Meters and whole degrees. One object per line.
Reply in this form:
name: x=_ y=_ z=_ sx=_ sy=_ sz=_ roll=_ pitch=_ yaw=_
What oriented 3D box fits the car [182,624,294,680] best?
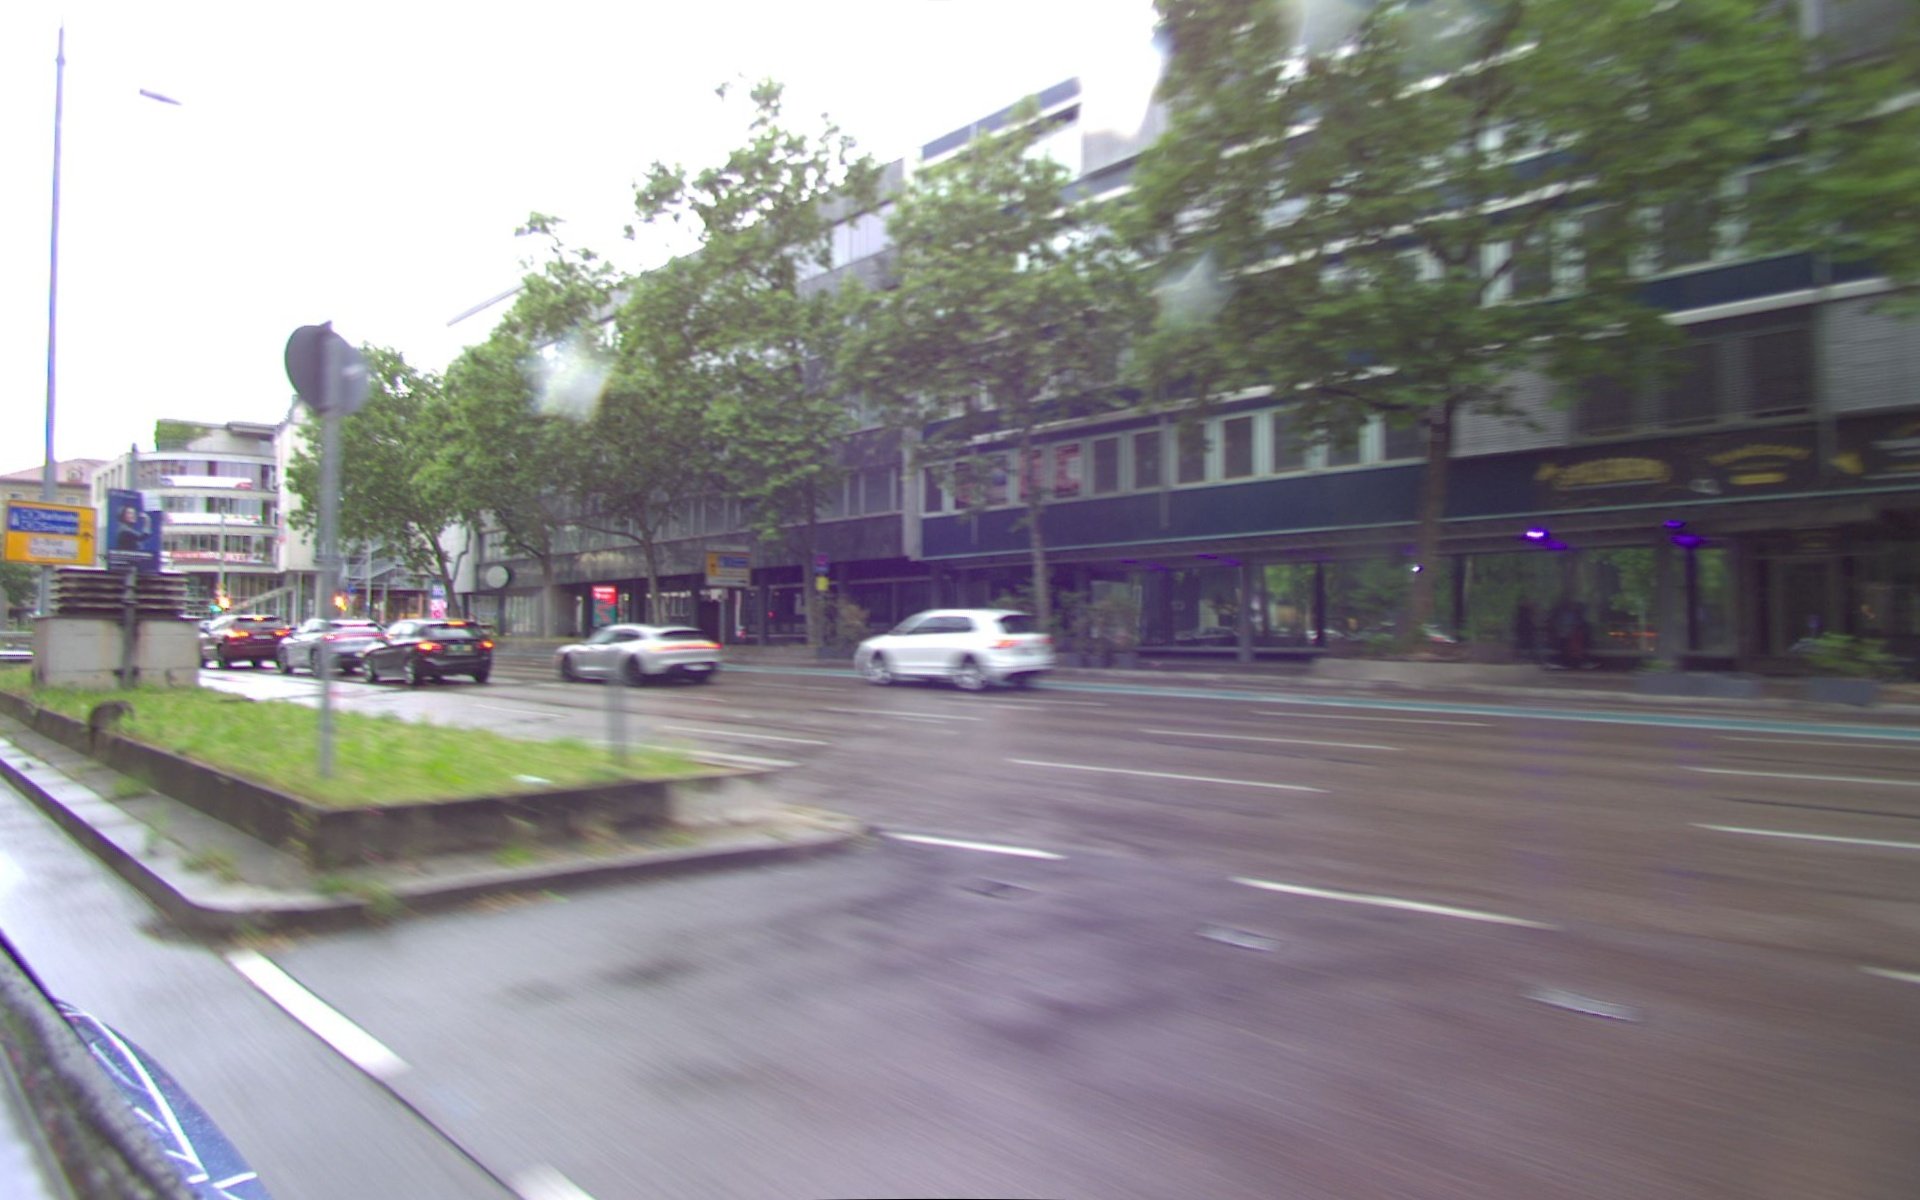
car: x=-24.543 y=1.739 z=34.341 sx=5.103 sy=1.780 sz=1.817 roll=-2 pitch=-2 yaw=39

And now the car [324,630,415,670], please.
car: x=-25.211 y=2.154 z=43.124 sx=4.582 sy=1.458 sz=1.872 roll=-6 pitch=-5 yaw=39

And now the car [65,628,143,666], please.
car: x=-40.526 y=2.228 z=47.883 sx=4.791 sy=1.698 sz=1.859 roll=-2 pitch=-2 yaw=38

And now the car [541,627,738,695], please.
car: x=-7.567 y=1.372 z=23.656 sx=4.950 sy=1.420 sz=1.948 roll=-2 pitch=-2 yaw=38

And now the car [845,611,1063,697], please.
car: x=-0.205 y=1.110 z=21.464 sx=4.542 sy=1.627 sz=1.743 roll=-2 pitch=-2 yaw=39

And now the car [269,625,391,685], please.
car: x=-18.299 y=1.564 z=29.299 sx=4.829 sy=1.585 sz=1.716 roll=-2 pitch=-2 yaw=42

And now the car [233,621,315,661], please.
car: x=-28.793 y=1.681 z=42.463 sx=3.995 sy=1.577 sz=1.736 roll=-1 pitch=-1 yaw=38

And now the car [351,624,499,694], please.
car: x=-13.149 y=1.395 z=24.761 sx=4.543 sy=1.564 sz=1.892 roll=-2 pitch=-2 yaw=44

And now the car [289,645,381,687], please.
car: x=-23.715 y=2.455 z=38.357 sx=4.567 sy=1.502 sz=1.701 roll=-2 pitch=-2 yaw=41

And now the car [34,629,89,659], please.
car: x=-46.774 y=2.297 z=52.673 sx=3.429 sy=1.487 sz=1.699 roll=-2 pitch=-2 yaw=41
